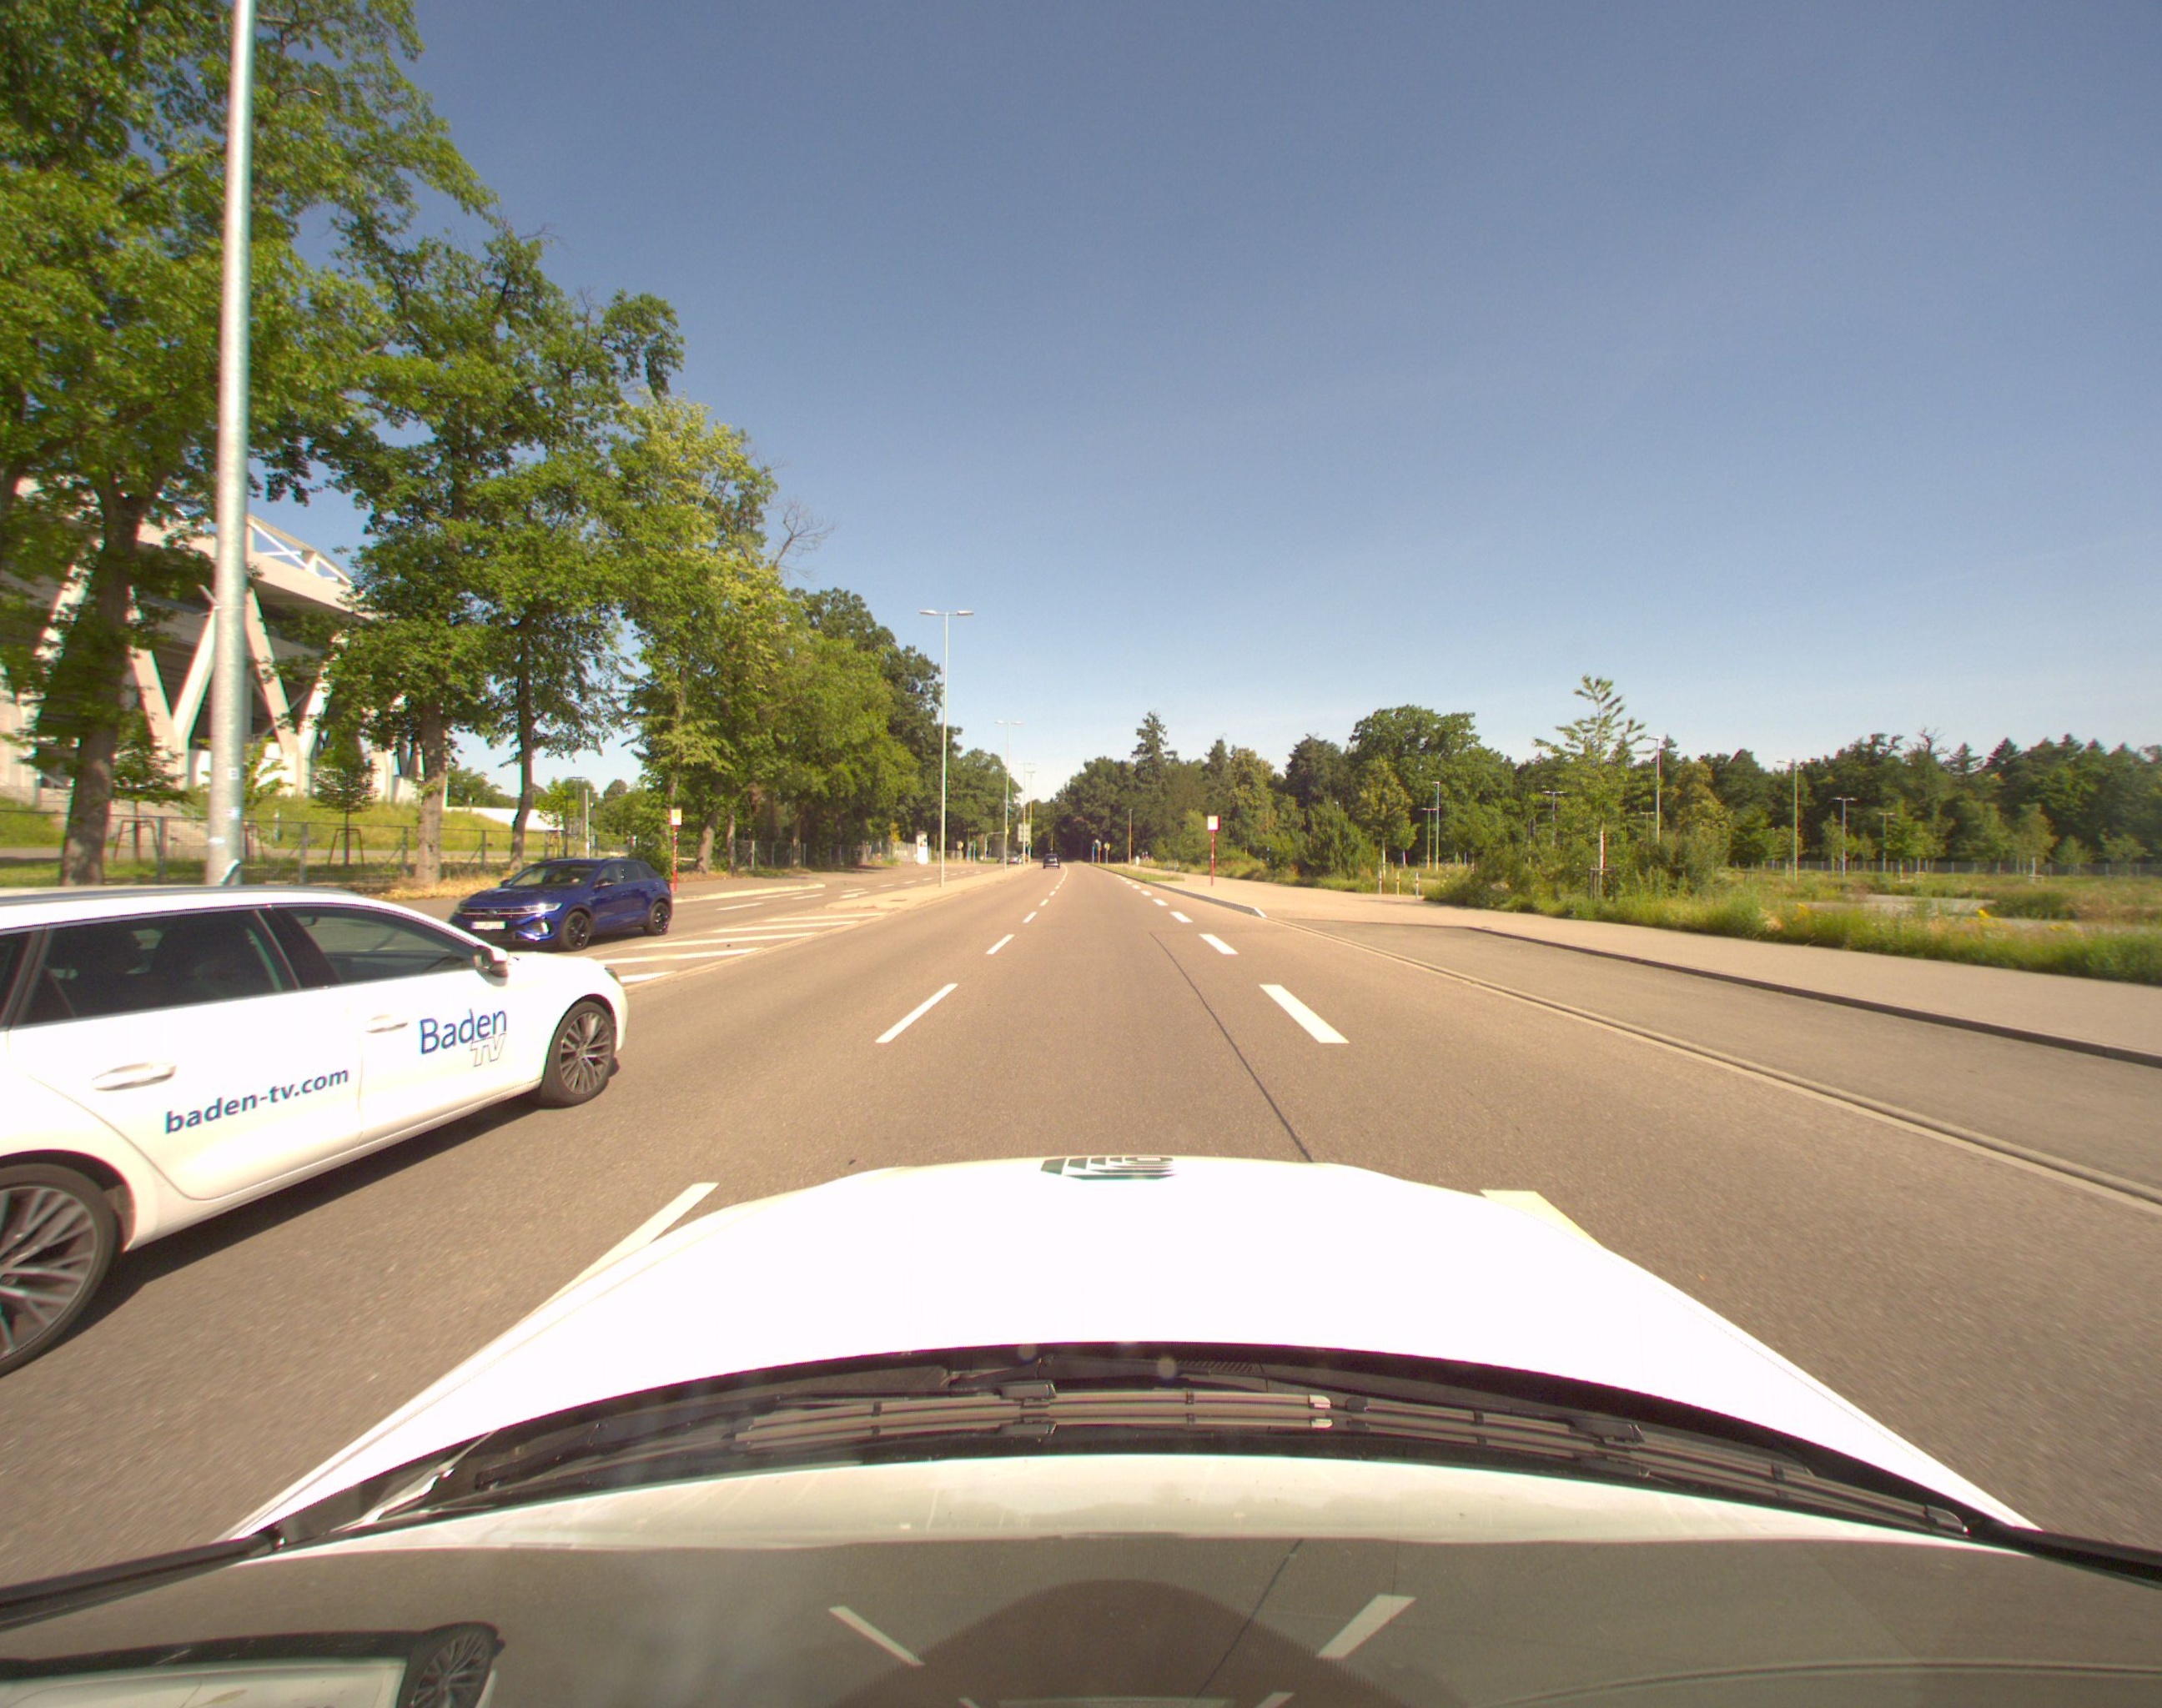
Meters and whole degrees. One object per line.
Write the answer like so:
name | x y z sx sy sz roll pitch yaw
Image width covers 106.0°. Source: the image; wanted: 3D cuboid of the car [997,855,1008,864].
car | -14.560 1.005 150.748 1.790 1.478 3.996 1 0 -3

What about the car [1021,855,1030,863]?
car | -12.147 1.042 176.890 1.843 1.618 3.993 1 0 -5

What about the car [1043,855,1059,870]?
car | -3.311 0.924 88.581 1.684 1.544 4.144 0 0 -3

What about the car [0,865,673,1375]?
car | -3.976 0.813 3.681 1.718 1.427 4.722 0 0 2

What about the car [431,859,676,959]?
car | -9.133 0.859 14.553 1.747 1.486 3.947 -1 0 0

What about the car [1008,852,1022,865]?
car | -10.240 0.660 126.537 1.836 1.932 4.626 0 0 -1
